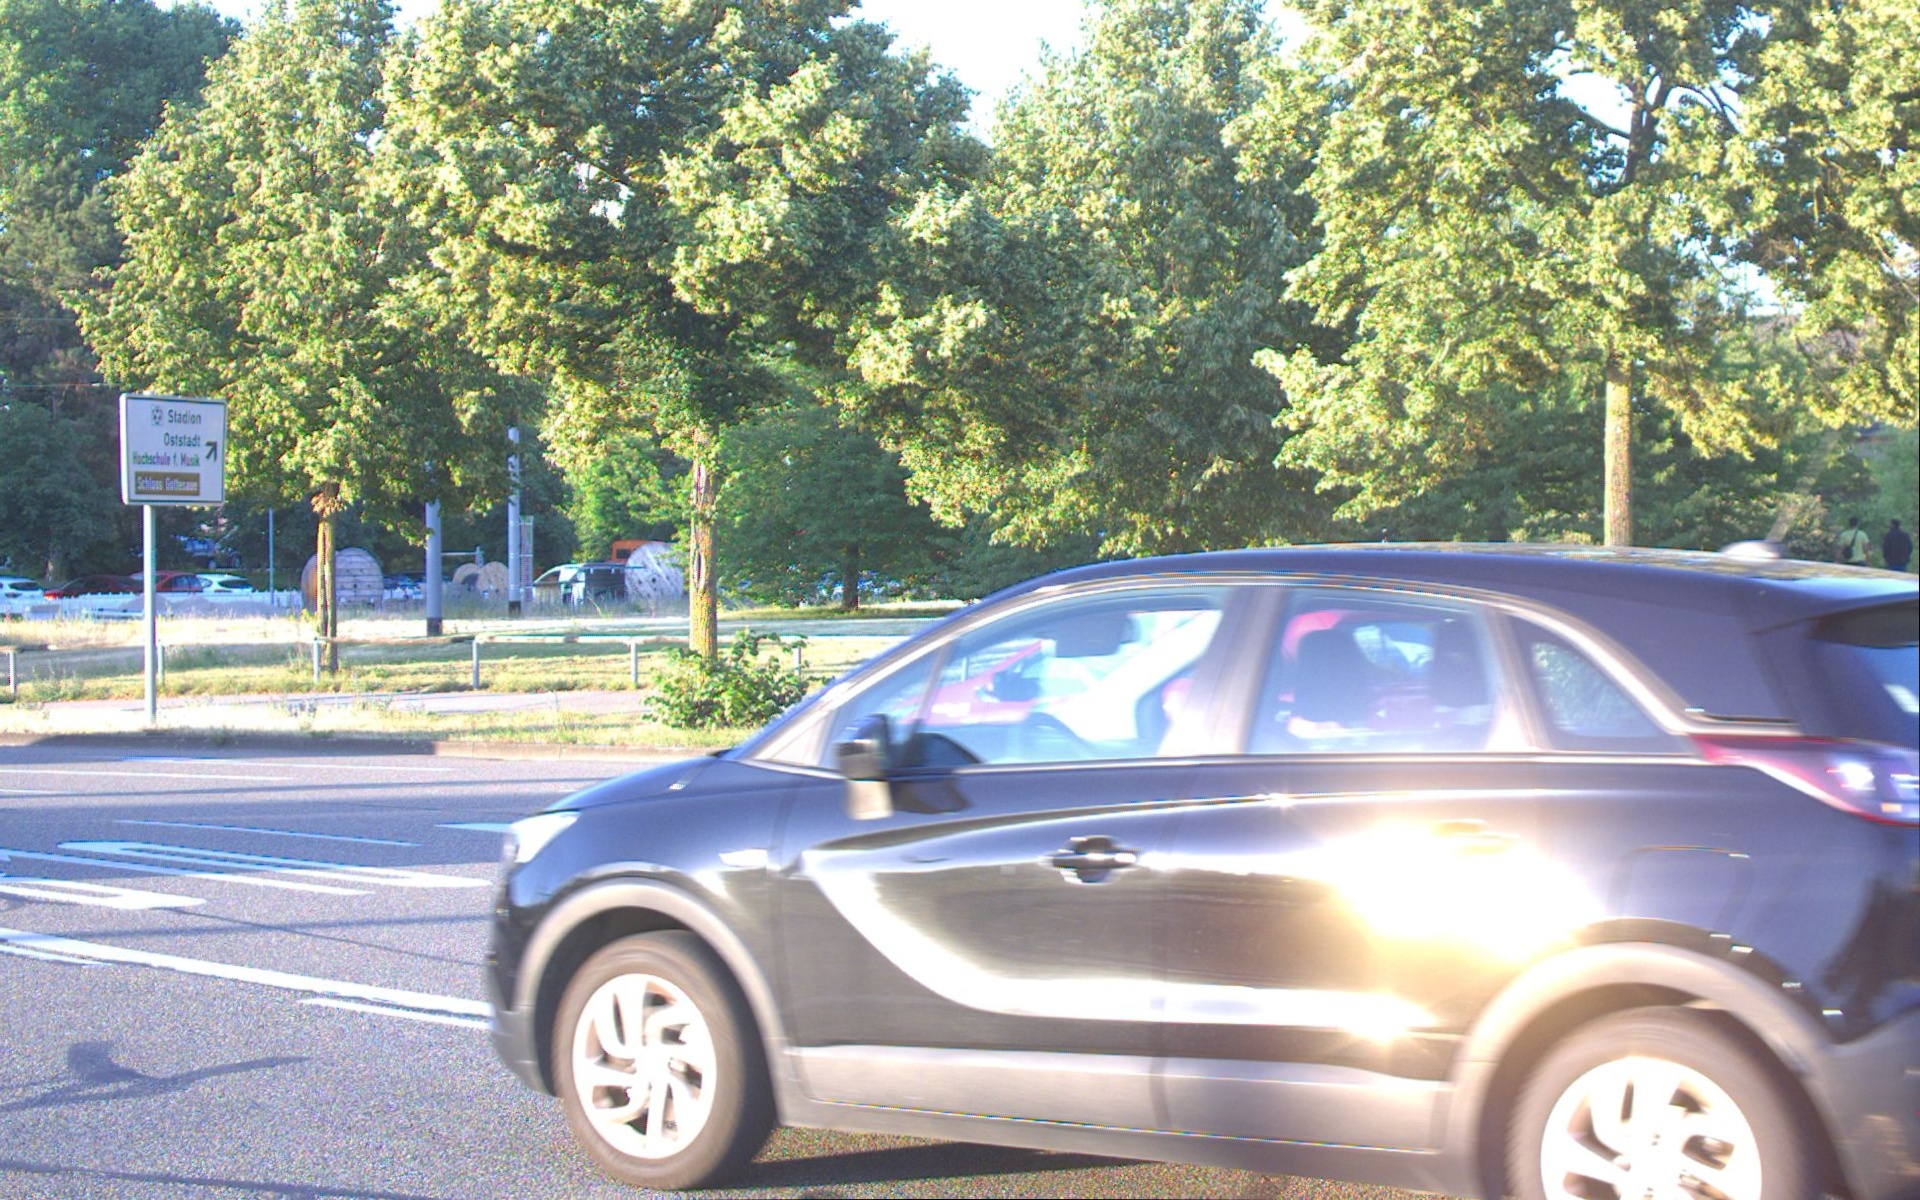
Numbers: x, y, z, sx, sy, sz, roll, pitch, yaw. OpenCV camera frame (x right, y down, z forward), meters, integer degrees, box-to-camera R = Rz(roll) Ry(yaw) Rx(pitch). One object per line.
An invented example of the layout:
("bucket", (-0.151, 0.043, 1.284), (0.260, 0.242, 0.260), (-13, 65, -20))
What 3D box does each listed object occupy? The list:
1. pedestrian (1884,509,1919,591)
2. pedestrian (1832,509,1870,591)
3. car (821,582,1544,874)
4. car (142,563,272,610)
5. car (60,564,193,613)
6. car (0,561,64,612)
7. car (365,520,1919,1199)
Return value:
("pedestrian", (18.712, -1.000, 68.266), (0.530, 1.621, 0.619), (0, 1, 35))
("pedestrian", (17.726, -1.001, 68.385), (0.532, 1.621, 0.579), (0, 1, 37))
("car", (1.214, 0.648, 19.111), (3.627, 1.478, 1.724), (0, 0, 31))
("car", (-25.443, -0.467, 116.113), (3.994, 1.545, 1.997), (0, 1, 31))
("car", (-27.456, -0.392, 113.224), (3.994, 1.545, 1.997), (0, 1, 31))
("car", (-30.343, -0.440, 107.970), (3.994, 1.545, 1.997), (0, 1, 31))
("car", (0.715, 0.651, 8.103), (4.131, 1.607, 1.718), (0, 0, 34))
